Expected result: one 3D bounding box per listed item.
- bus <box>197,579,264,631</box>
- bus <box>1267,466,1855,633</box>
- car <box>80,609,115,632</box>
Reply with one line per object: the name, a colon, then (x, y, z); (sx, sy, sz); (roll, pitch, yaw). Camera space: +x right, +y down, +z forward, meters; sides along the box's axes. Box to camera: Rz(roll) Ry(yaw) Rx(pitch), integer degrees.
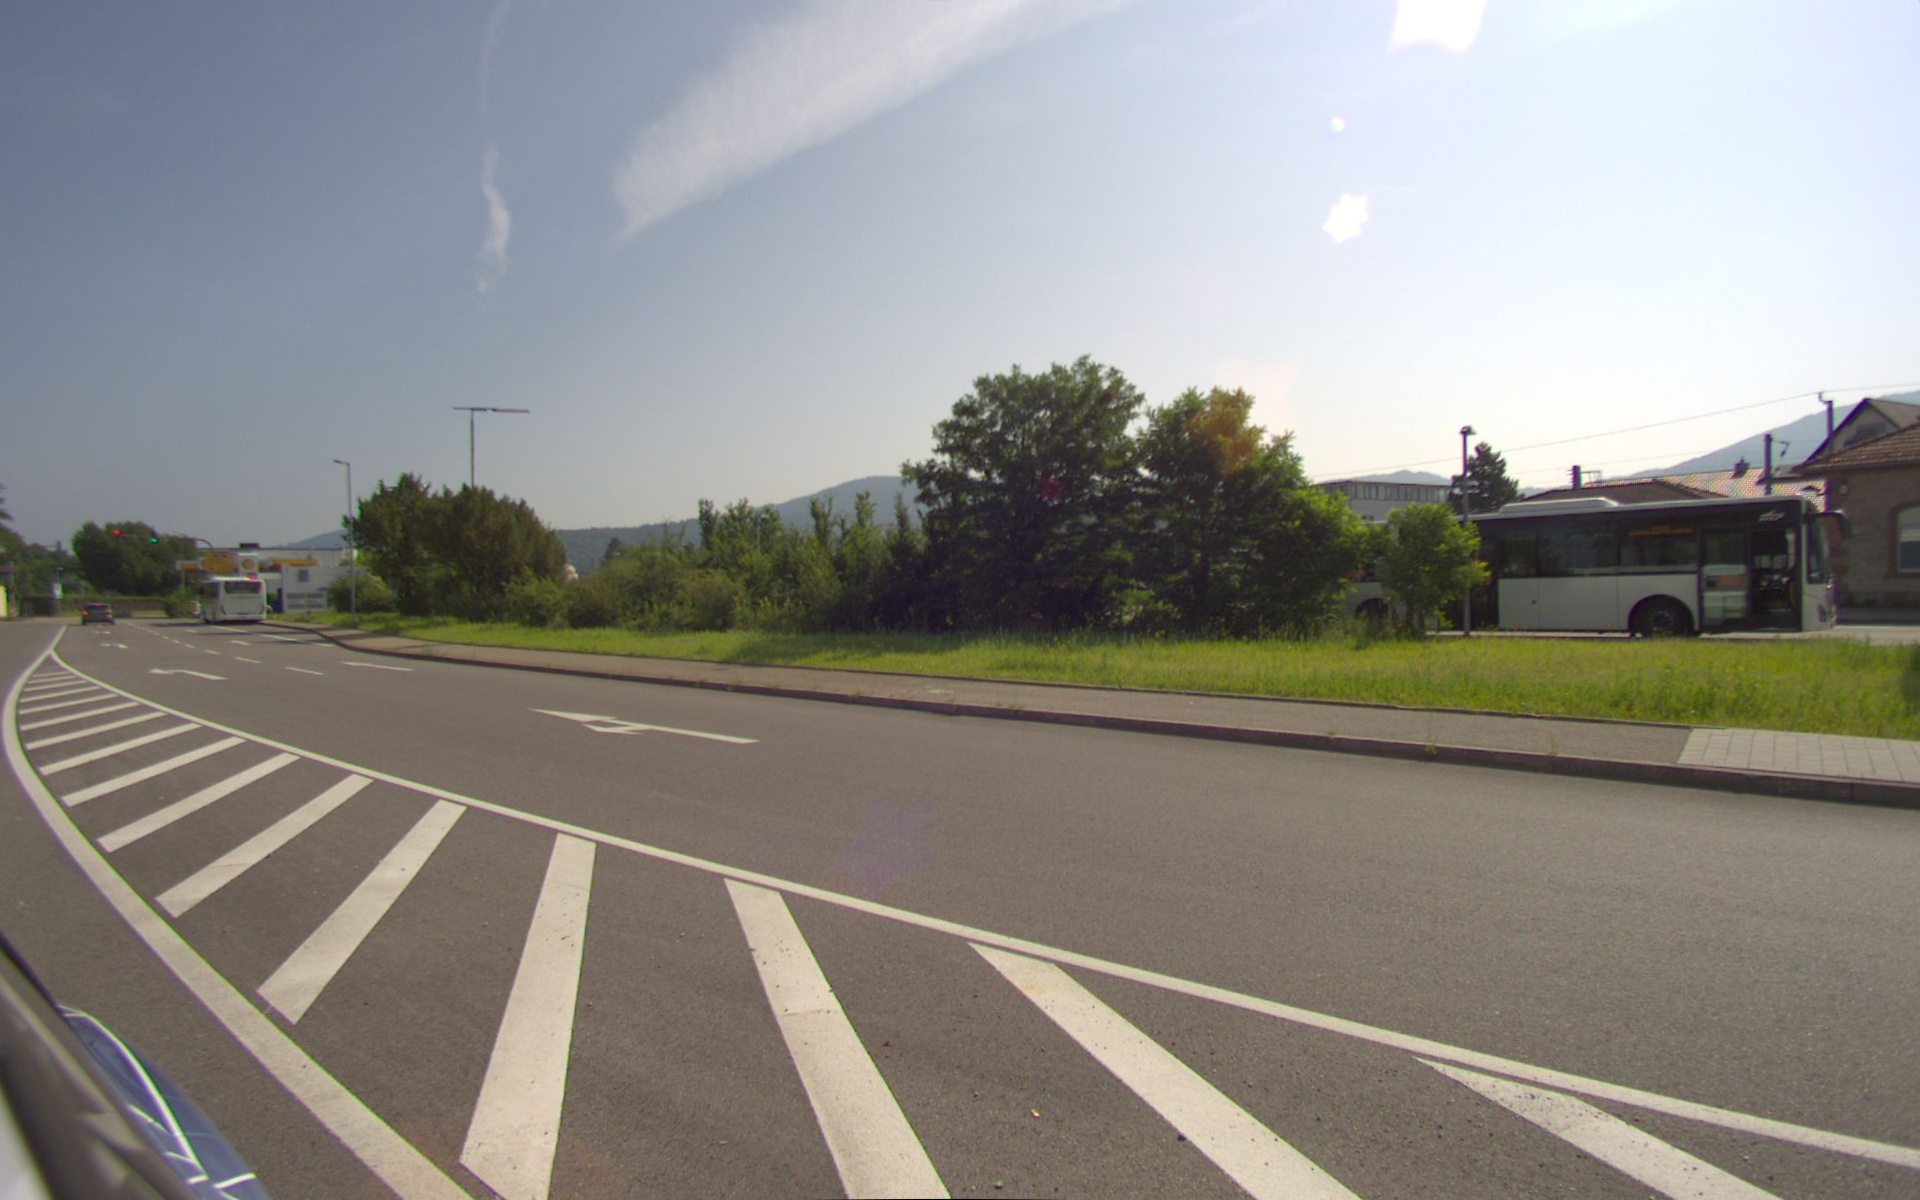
bus: (-50.503, 0.311, 69.901); (2.589, 3.335, 11.973); (0, 0, -42)
bus: (13.566, -0.897, 24.306); (11.725, 3.147, 3.030); (-1, 0, 45)
car: (-59.051, 1.402, 69.305); (1.750, 1.484, 4.226); (-1, 0, -41)
